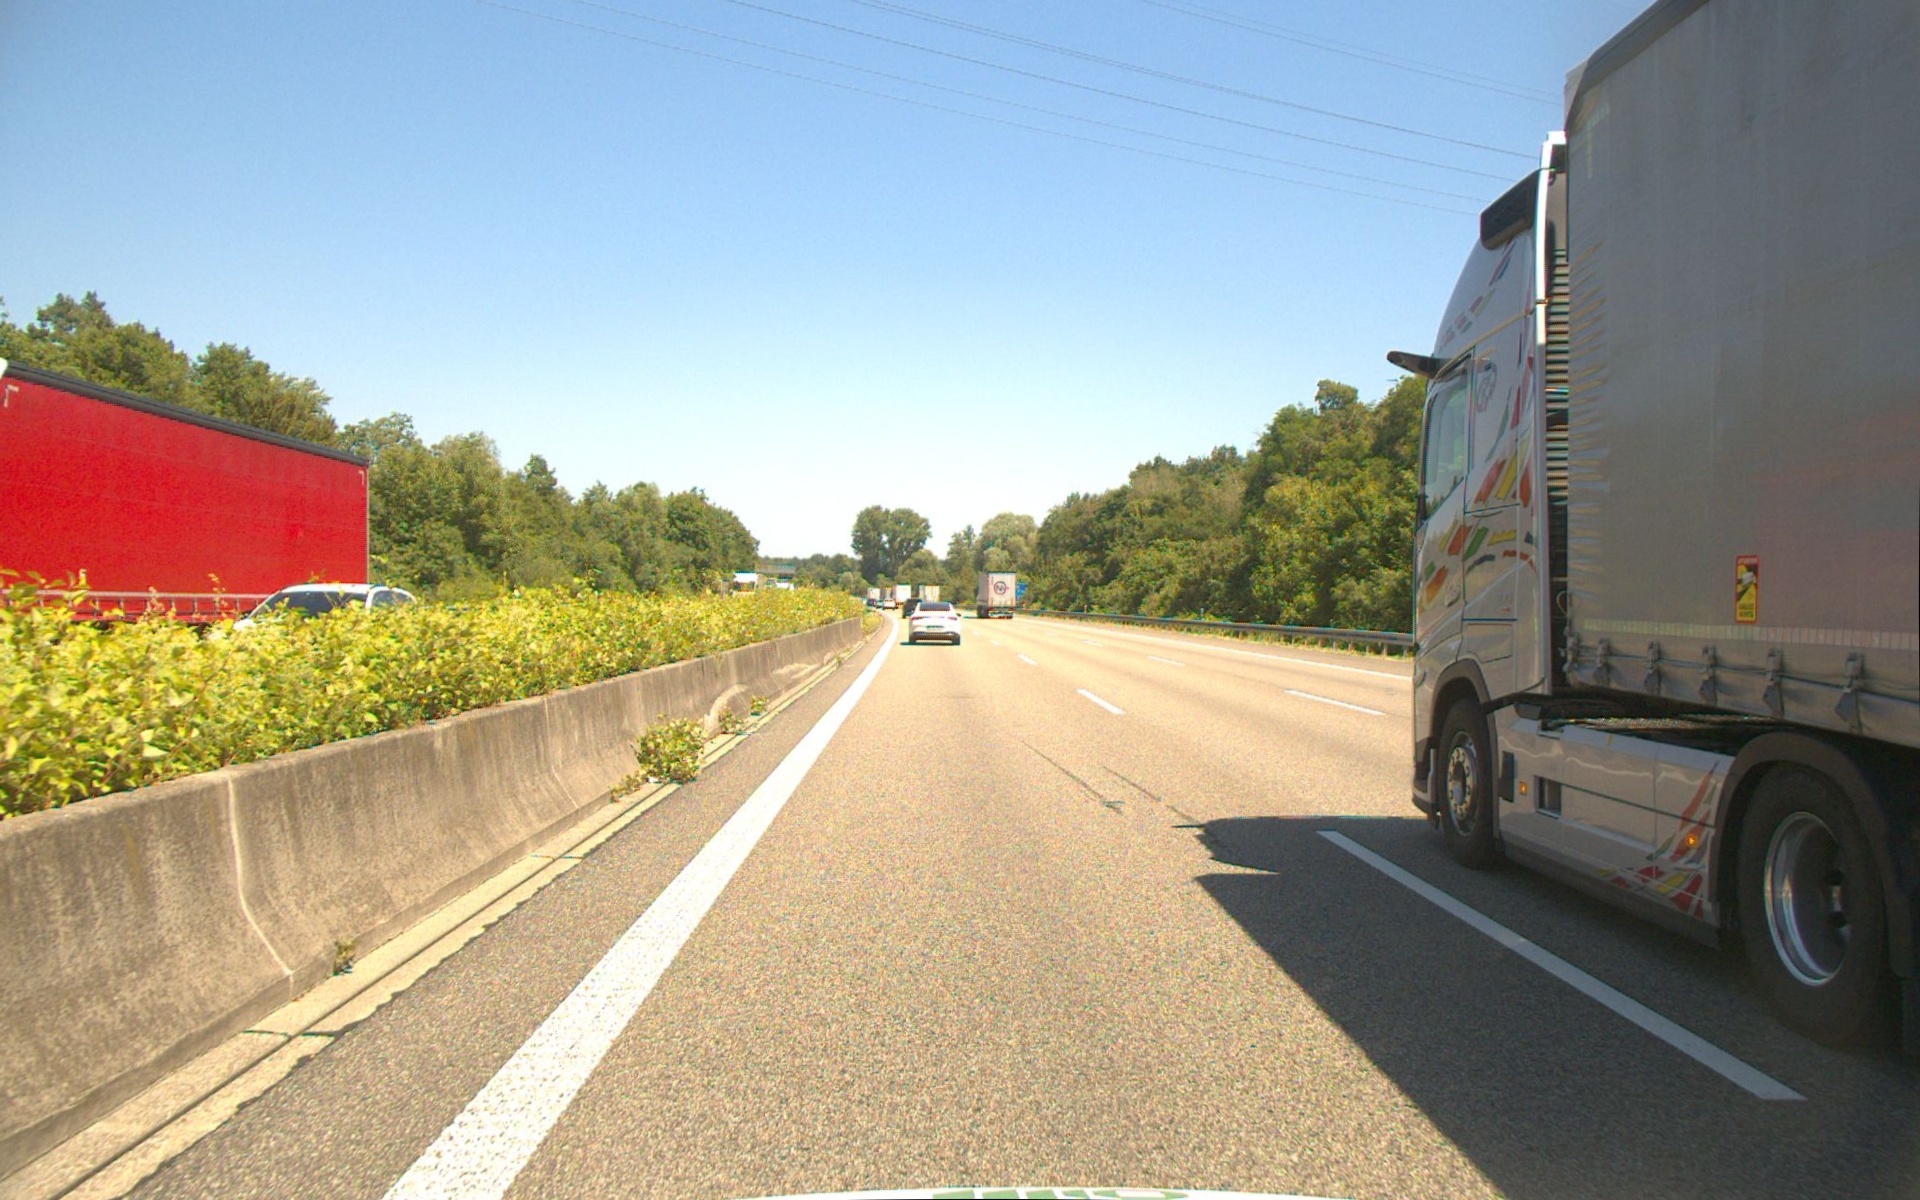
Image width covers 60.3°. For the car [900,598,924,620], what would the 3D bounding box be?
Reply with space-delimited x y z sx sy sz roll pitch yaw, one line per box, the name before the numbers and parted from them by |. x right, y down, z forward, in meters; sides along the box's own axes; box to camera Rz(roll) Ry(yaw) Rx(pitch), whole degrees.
car | -4.124 0.726 141.079 1.954 1.803 3.998 1 0 -3

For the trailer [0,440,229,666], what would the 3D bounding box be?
trailer | -16.741 -0.775 28.475 2.323 3.658 14.216 1 0 -2

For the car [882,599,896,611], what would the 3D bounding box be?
car | -10.647 0.708 247.785 1.692 1.814 3.992 1 0 -9

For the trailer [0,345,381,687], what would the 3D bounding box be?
trailer | -12.674 -1.004 26.093 2.416 4.004 14.395 0 0 -2

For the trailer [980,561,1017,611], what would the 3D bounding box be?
trailer | 3.482 -1.256 152.186 2.571 4.335 14.054 1 0 -2

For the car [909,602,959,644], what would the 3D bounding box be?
car | -0.877 0.773 57.824 1.680 1.393 3.375 1 0 0

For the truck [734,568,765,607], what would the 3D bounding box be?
truck | -22.498 -1.323 177.355 2.606 4.054 6.552 1 0 -2

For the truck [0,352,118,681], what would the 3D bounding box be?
truck | -12.469 -0.987 19.354 2.416 3.854 5.727 1 0 -2

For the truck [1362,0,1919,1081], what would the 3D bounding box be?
truck | 4.213 -0.547 8.307 2.667 4.044 6.500 1 0 -1

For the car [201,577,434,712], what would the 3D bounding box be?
car | -8.459 0.540 22.133 1.661 1.629 3.998 1 0 -2

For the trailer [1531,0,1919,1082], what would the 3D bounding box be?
trailer | 4.324 -0.541 1.479 2.684 4.044 13.651 1 0 -1
